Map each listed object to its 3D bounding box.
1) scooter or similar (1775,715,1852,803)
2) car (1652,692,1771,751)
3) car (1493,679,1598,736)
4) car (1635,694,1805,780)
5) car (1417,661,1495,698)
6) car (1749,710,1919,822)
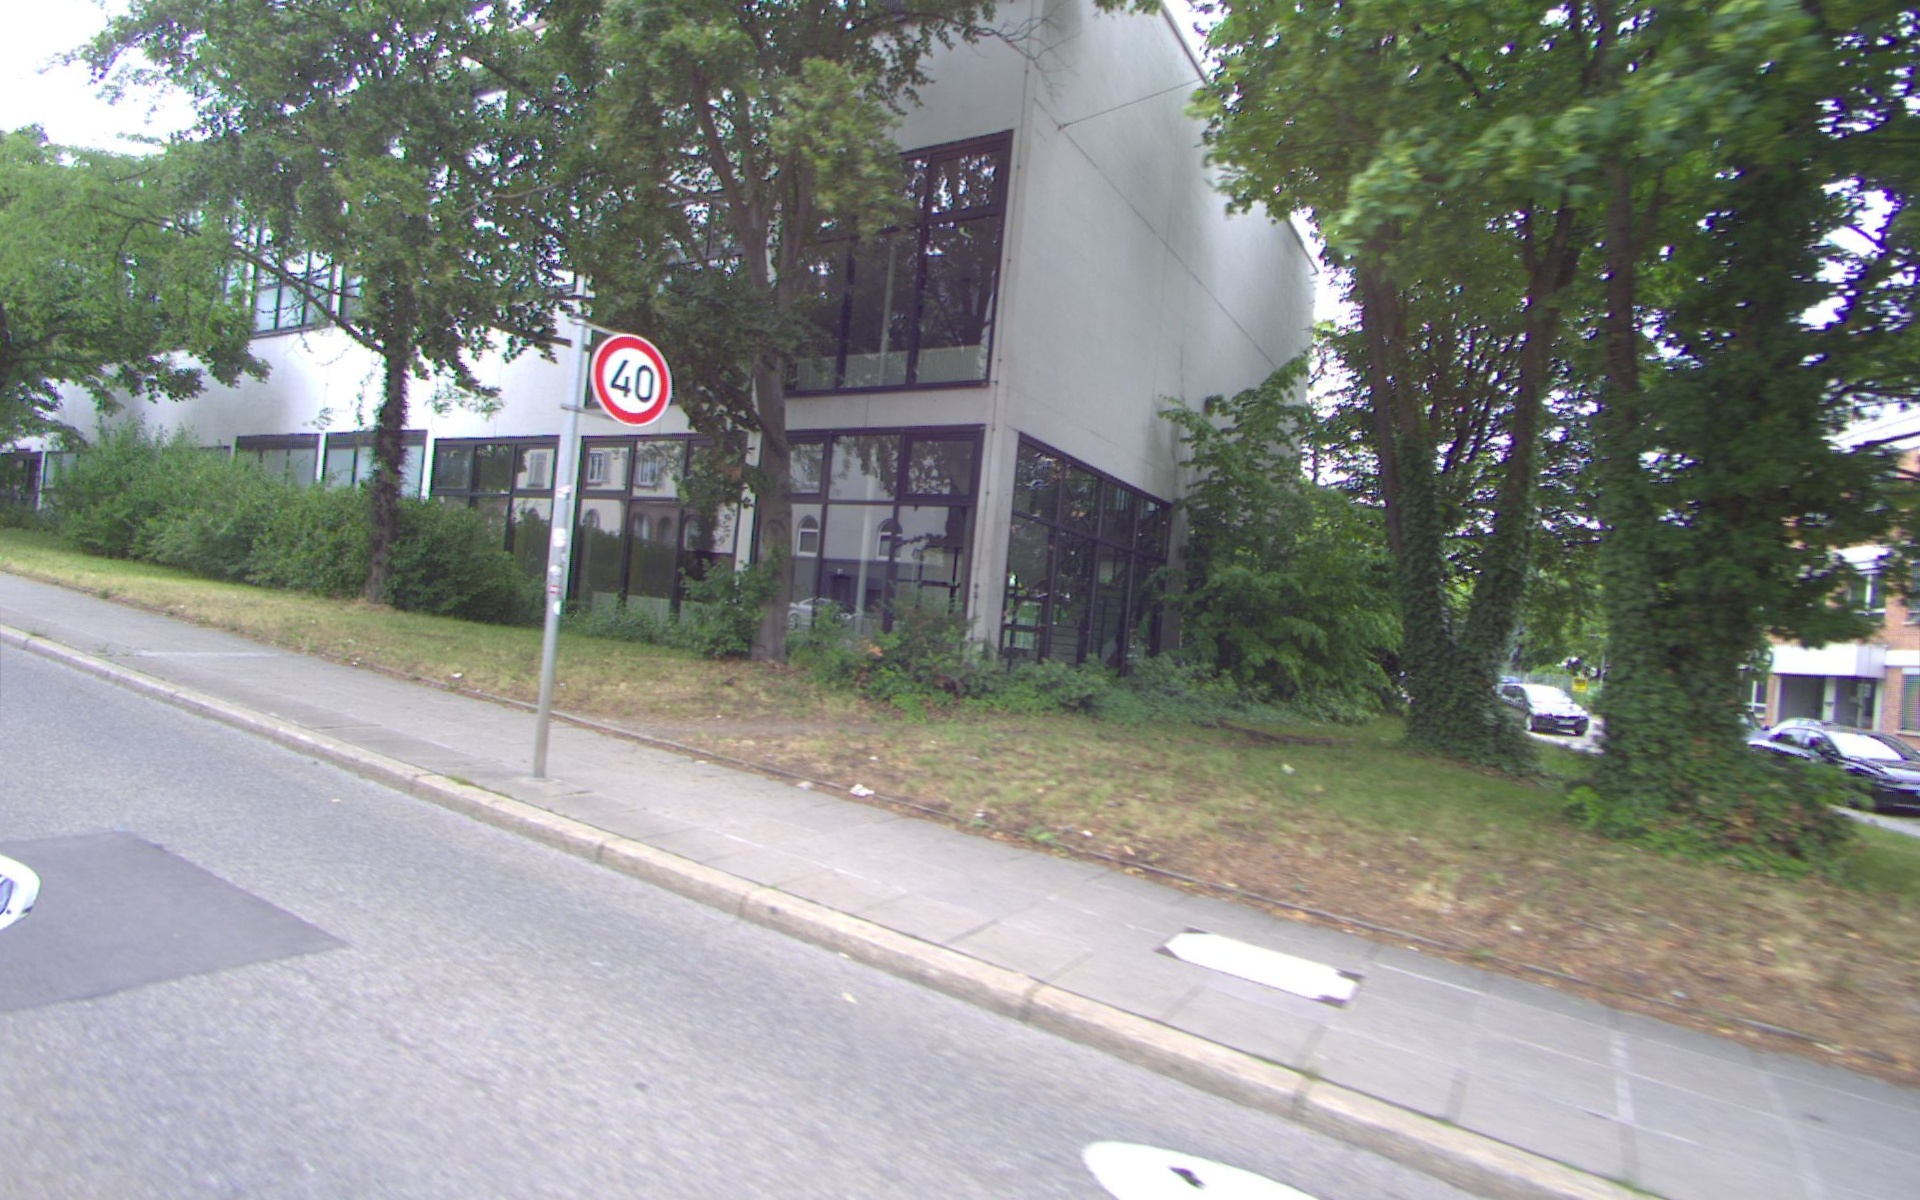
[{"bbox_3d":[13.740,2.535,16.226,0.335,1.245,1.104,7,1,12],"label":"scooter or similar"},{"bbox_3d":[28.506,4.563,38.342,1.688,1.567,4.262,10,1,10],"label":"car"},{"bbox_3d":[20.910,3.802,36.132,1.961,1.629,4.311,2,-1,12],"label":"car"},{"bbox_3d":[18.820,3.329,25.157,1.665,1.629,4.311,2,-1,12],"label":"car"},{"bbox_3d":[33.436,5.346,67.925,4.181,1.567,1.937,10,1,7],"label":"car"},{"bbox_3d":[17.836,3.201,19.915,1.713,1.629,4.311,2,-1,12],"label":"car"}]
